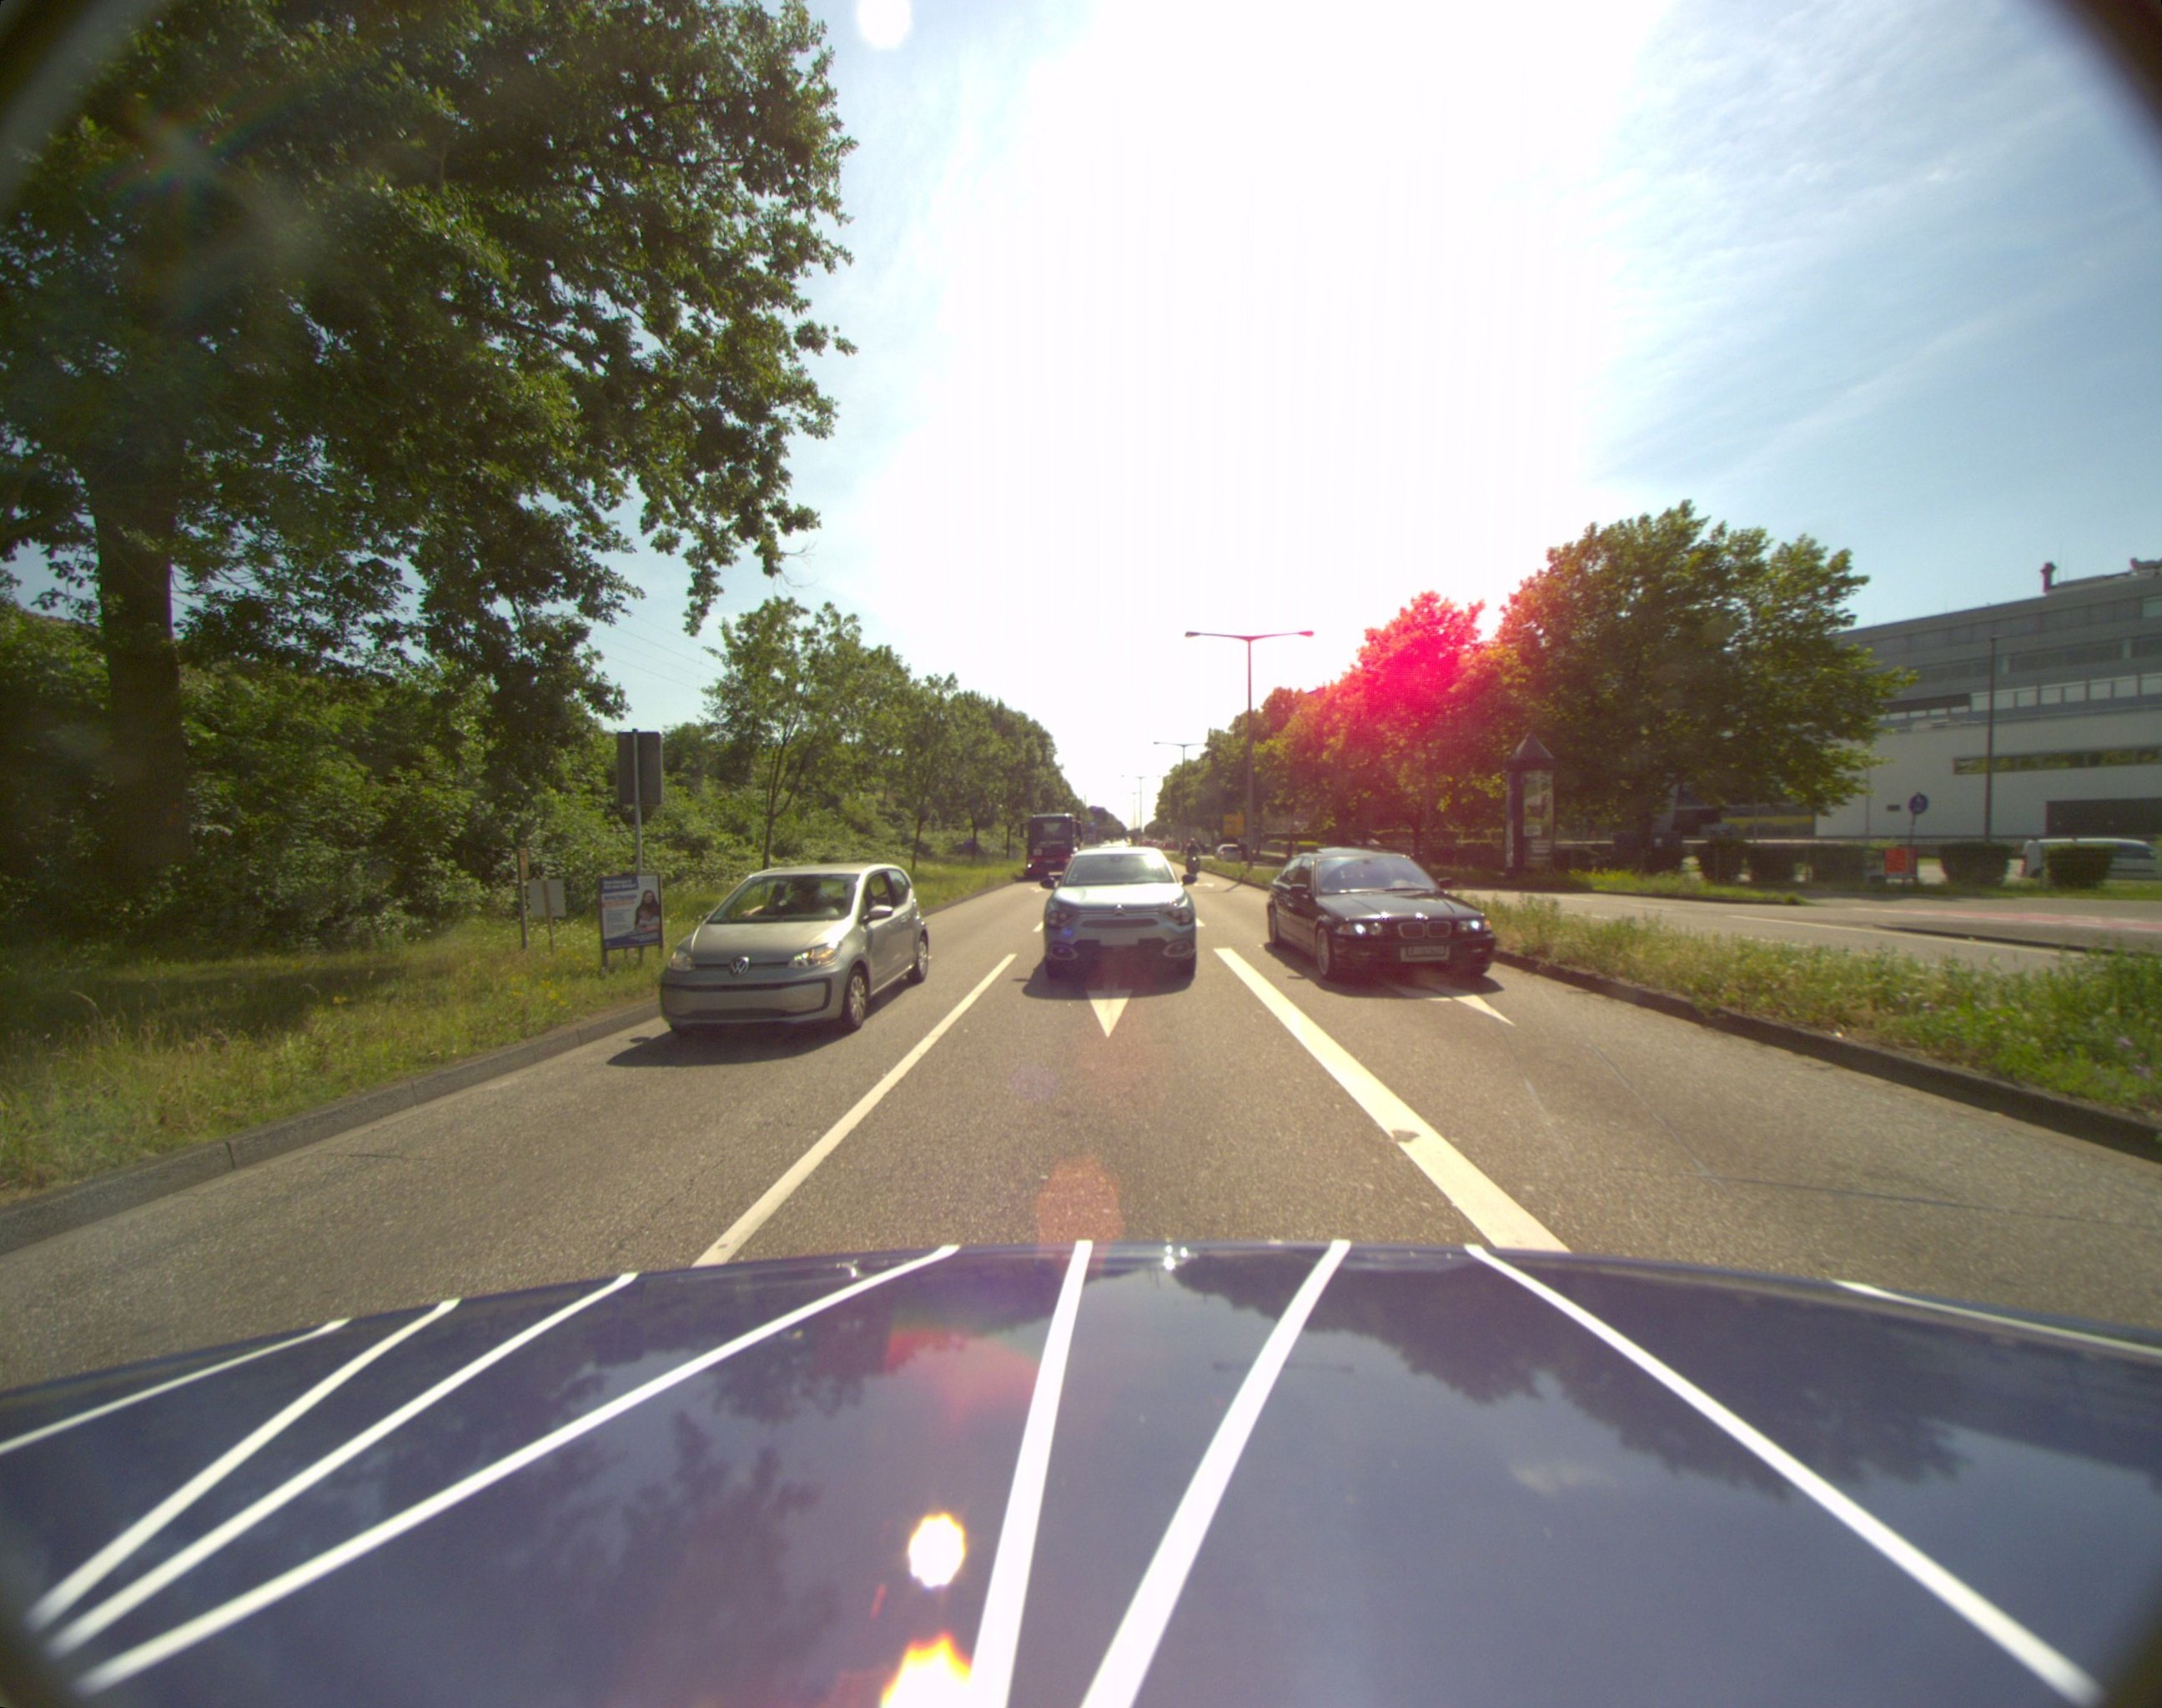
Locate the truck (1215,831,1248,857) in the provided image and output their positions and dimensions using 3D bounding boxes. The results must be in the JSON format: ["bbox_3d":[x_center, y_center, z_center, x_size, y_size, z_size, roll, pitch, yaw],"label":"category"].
[{"bbox_3d":[15.128,-0.986,76.804,2.144,2.461,7.128,-1,1,2],"label":"truck"}]

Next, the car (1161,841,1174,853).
[{"bbox_3d":[14.876,-1.159,130.453,1.998,2.002,4.000,-1,1,2],"label":"car"}]

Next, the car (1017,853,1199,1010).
[{"bbox_3d":[0.418,0.787,10.066,1.825,1.521,4.752,-1,1,4],"label":"car"}]

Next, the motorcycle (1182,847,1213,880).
[{"bbox_3d":[5.025,0.382,32.974,1.051,1.343,2.331,-1,1,2],"label":"motorcycle"}]

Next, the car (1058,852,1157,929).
[{"bbox_3d":[0.622,0.747,17.538,1.998,1.492,4.000,-1,1,2],"label":"car"}]

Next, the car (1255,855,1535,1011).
[{"bbox_3d":[3.422,0.747,9.186,1.730,1.354,4.067,-2,1,1],"label":"car"}]

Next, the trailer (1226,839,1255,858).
[{"bbox_3d":[14.905,-0.520,71.203,2.066,1.706,3.991,-1,1,3],"label":"trailer"}]

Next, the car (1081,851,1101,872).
[{"bbox_3d":[1.040,0.703,77.532,1.998,2.002,4.000,-1,1,2],"label":"car"}]

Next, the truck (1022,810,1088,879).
[{"bbox_3d":[-1.213,-0.519,39.931,2.775,3.248,7.483,-1,1,3],"label":"truck"}]

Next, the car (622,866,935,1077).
[{"bbox_3d":[-2.710,0.951,7.782,1.705,1.429,3.677,-4,1,-1],"label":"car"}]

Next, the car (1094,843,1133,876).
[{"bbox_3d":[1.687,0.220,38.119,1.825,1.521,4.548,-1,1,4],"label":"car"}]

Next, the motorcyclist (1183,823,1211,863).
[{"bbox_3d":[5.029,-0.460,32.928,1.066,1.689,1.042,-1,1,2],"label":"motorcyclist"}]

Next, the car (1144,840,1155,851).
[{"bbox_3d":[12.713,-1.524,141.187,1.998,2.002,4.000,-1,1,2],"label":"car"}]

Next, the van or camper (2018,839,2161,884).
[{"bbox_3d":[40.276,0.258,29.666,2.004,1.682,4.500,-2,1,-35],"label":"van or camper"}]

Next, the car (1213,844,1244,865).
[{"bbox_3d":[10.812,0.021,55.775,1.653,1.505,3.736,-1,1,2],"label":"car"}]

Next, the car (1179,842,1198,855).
[{"bbox_3d":[13.230,-0.695,93.910,1.852,1.426,3.766,-1,1,1],"label":"car"}]
